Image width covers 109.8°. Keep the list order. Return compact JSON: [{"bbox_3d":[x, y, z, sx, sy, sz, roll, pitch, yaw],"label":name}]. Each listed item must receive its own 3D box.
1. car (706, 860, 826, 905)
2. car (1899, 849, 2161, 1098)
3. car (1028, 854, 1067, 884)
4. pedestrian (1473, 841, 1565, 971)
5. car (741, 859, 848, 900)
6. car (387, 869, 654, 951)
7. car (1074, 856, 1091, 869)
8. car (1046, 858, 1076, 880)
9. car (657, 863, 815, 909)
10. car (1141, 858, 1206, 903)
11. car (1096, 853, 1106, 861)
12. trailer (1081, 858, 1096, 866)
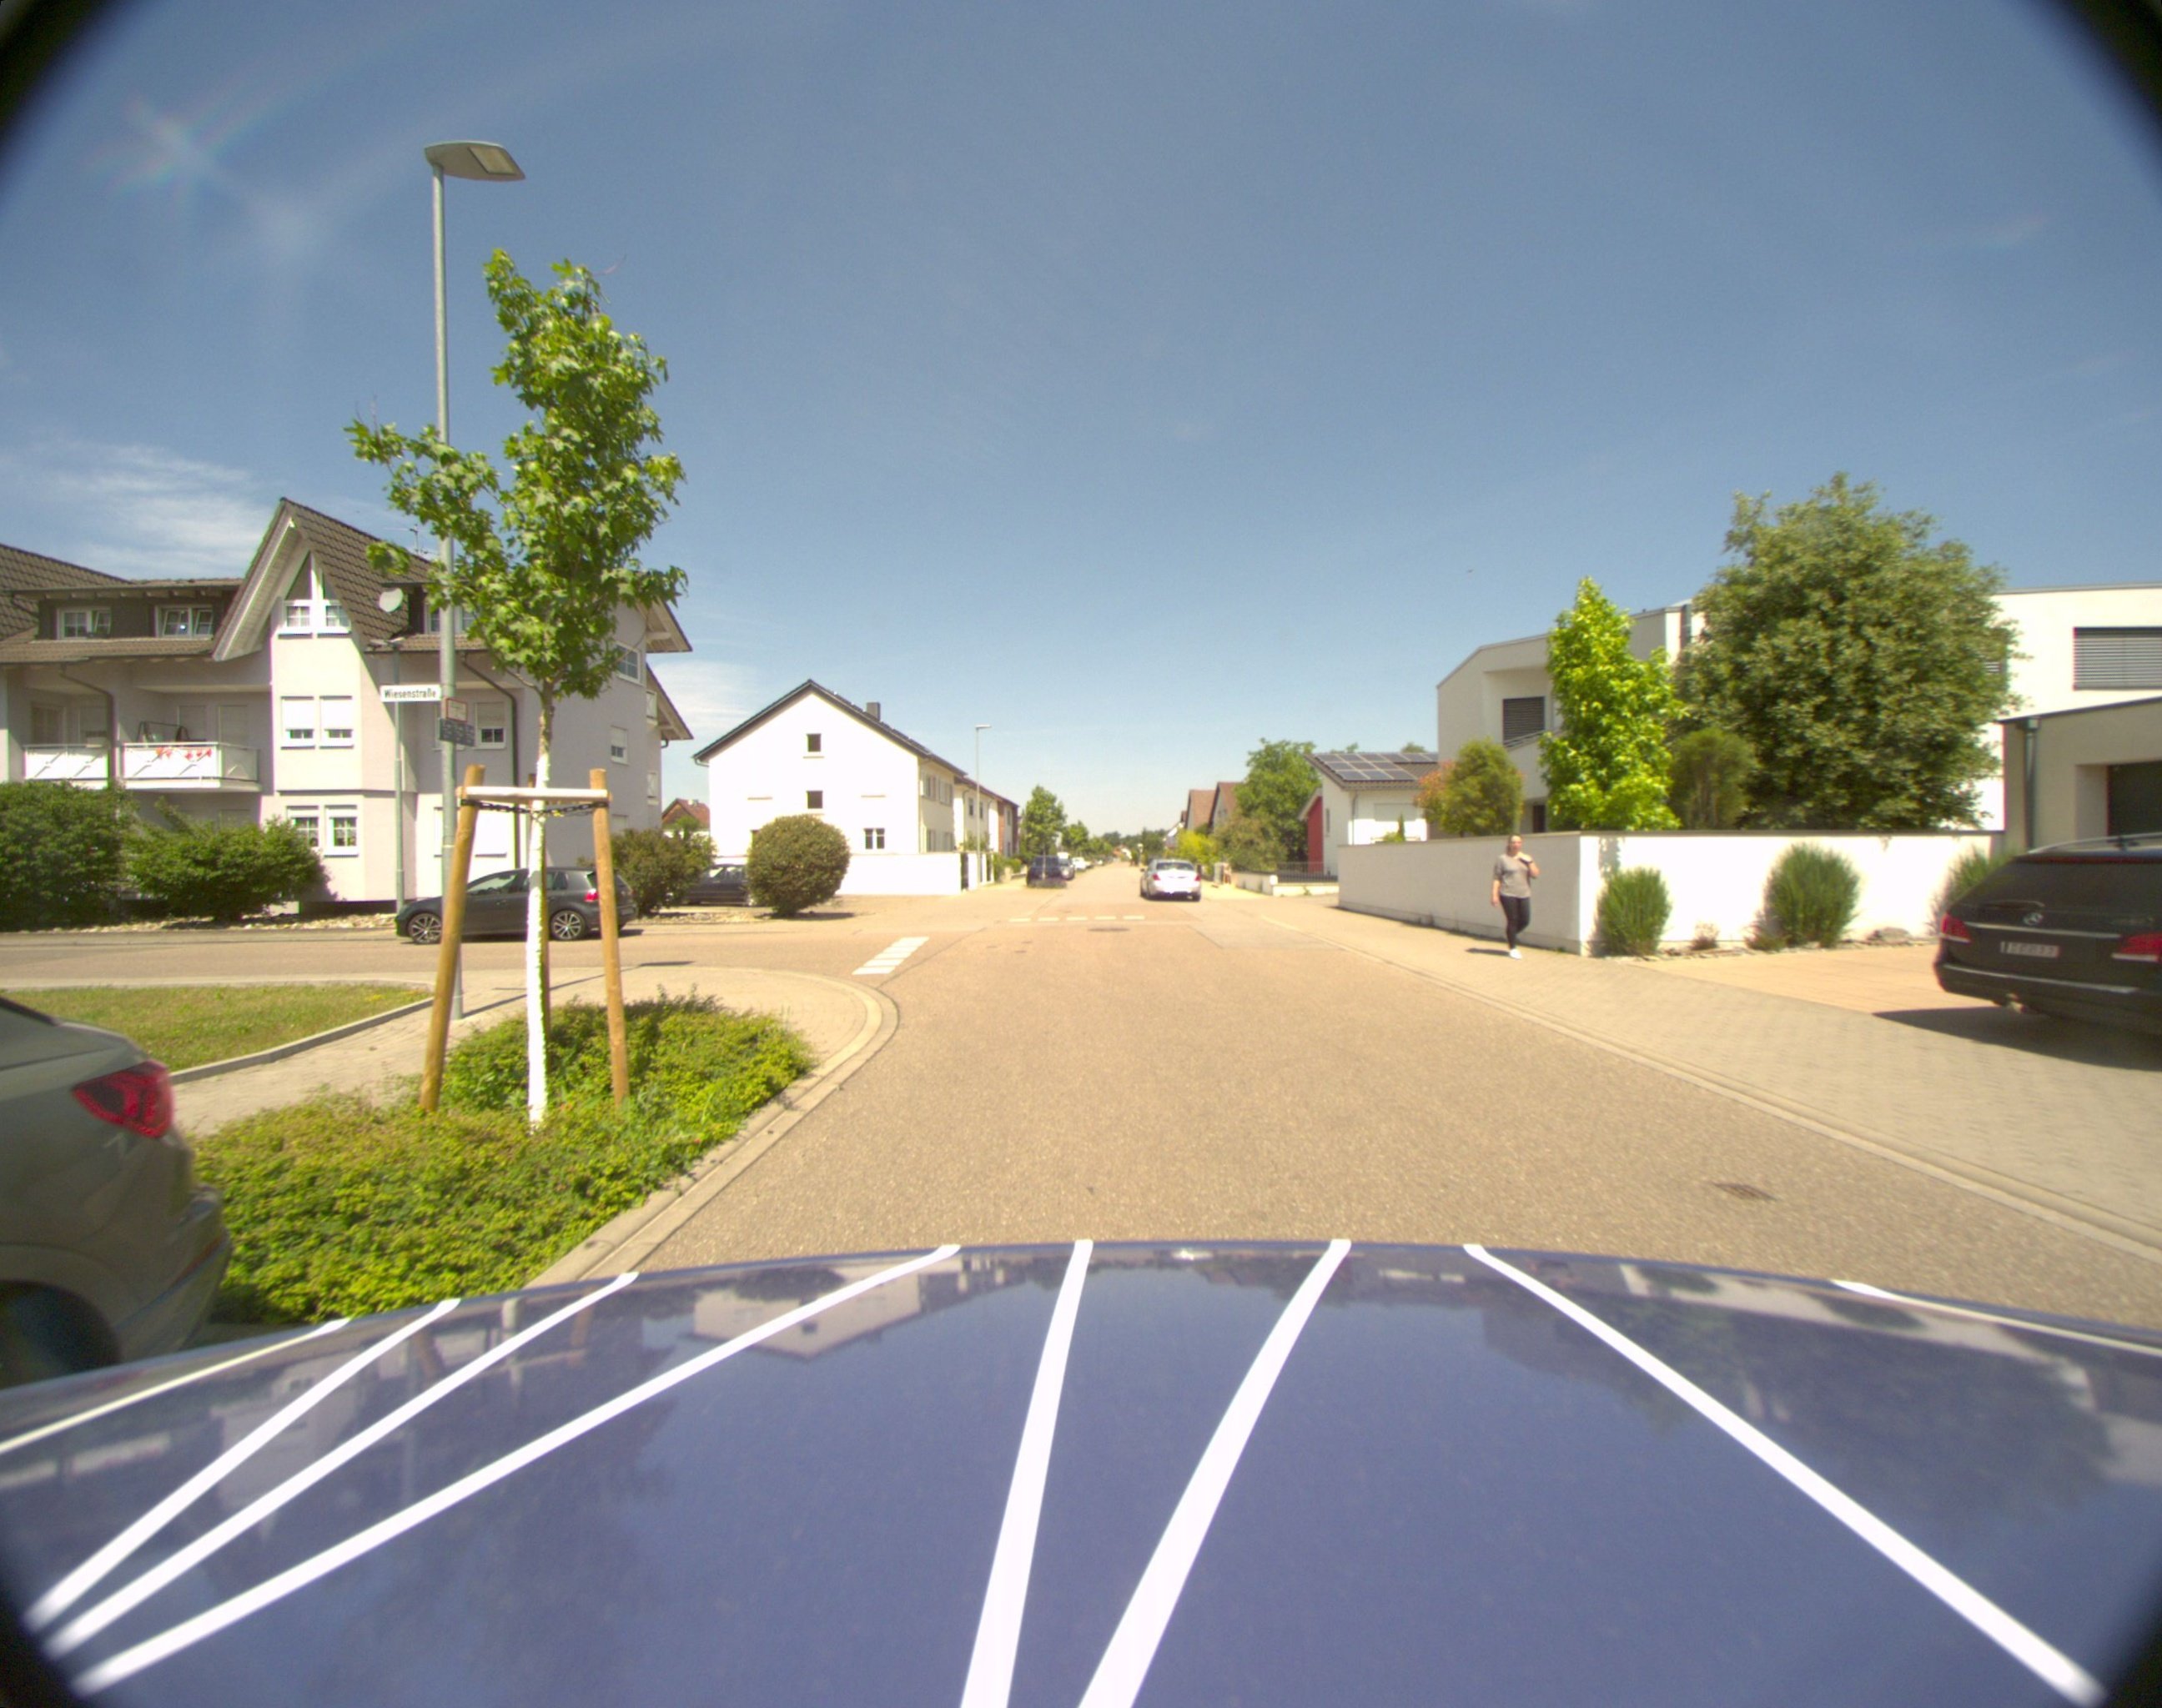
[{"bbox_3d":[-10.941,0.957,26.562,3.454,1.486,1.664,-1,0,-2],"label":"car"},{"bbox_3d":[8.979,0.676,5.224,4.438,1.465,1.851,-3,0,5],"label":"car"},{"bbox_3d":[-1.855,0.826,43.284,1.818,1.646,4.565,-1,0,3],"label":"car"},{"bbox_3d":[6.132,0.701,10.690,0.716,1.737,0.961,-2,0,2],"label":"pedestrian"},{"bbox_3d":[-10.923,0.942,29.171,3.510,1.487,1.664,-1,0,-4],"label":"car"},{"bbox_3d":[-11.216,1.080,15.451,4.004,1.459,1.755,-1,0,-6],"label":"car"},{"bbox_3d":[0.171,0.913,85.020,1.819,1.412,3.868,-1,0,1],"label":"car"},{"bbox_3d":[-1.365,0.997,52.820,1.818,1.412,4.093,-1,0,2],"label":"car"},{"bbox_3d":[-10.872,0.992,24.156,4.212,1.366,1.664,-1,0,-2],"label":"car"},{"bbox_3d":[3.358,0.924,28.445,1.857,1.469,4.700,1,0,0],"label":"car"},{"bbox_3d":[4.102,0.618,154.557,1.597,1.630,3.804,-1,0,6],"label":"car"},{"bbox_3d":[0.992,1.022,100.297,1.792,1.052,2.899,-1,0,3],"label":"trailer"}]
